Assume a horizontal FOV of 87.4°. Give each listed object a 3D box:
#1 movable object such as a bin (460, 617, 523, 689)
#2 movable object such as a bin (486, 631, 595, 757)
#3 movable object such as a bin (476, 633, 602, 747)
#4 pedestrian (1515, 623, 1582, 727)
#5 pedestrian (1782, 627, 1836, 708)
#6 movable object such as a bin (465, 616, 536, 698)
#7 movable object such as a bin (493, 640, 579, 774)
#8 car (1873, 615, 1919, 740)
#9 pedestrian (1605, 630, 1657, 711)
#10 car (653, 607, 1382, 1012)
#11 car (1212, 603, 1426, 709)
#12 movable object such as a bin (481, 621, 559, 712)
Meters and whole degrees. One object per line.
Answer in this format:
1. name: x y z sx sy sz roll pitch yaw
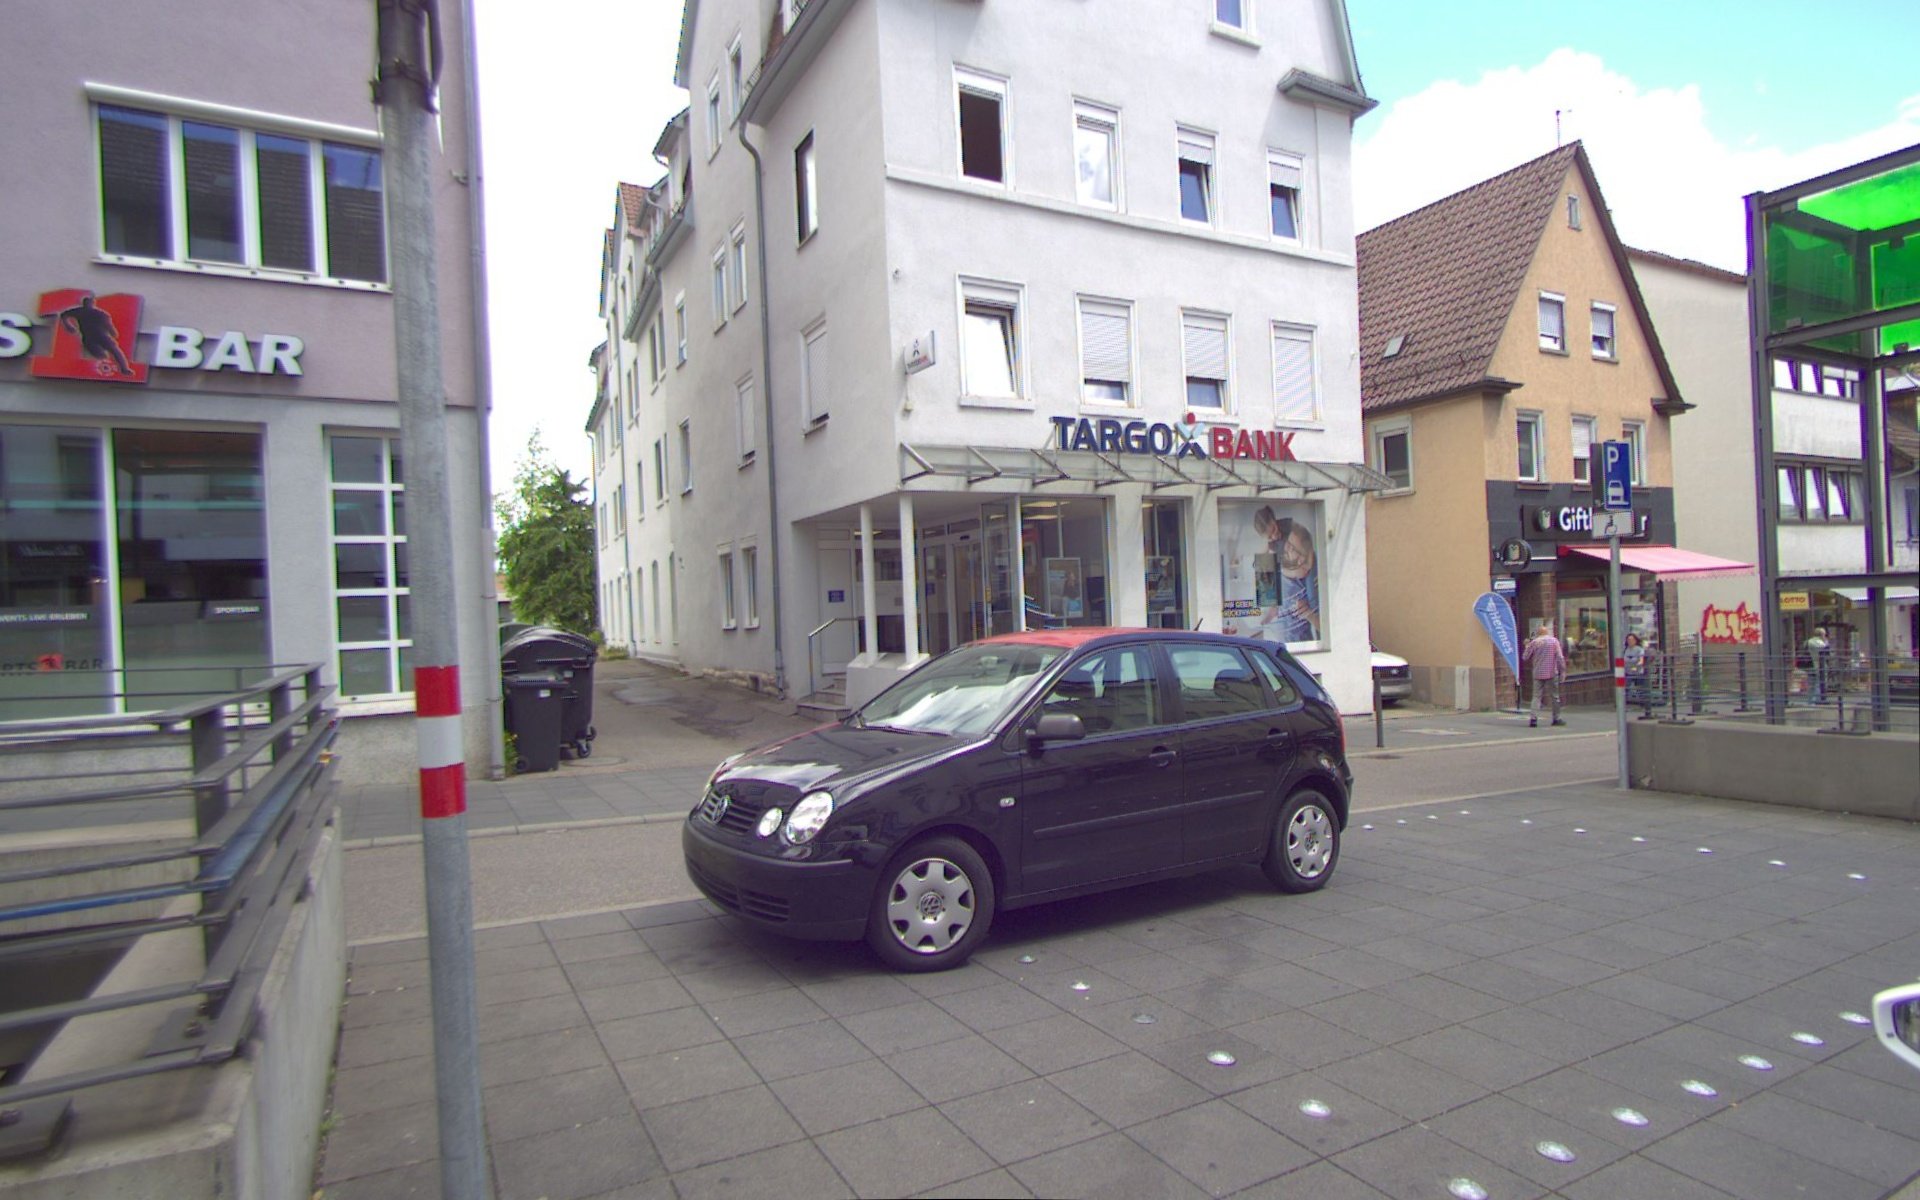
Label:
1. movable object such as a bin: -9.380 1.035 20.096 1.031 1.394 1.277 1 -1 -30
2. movable object such as a bin: -5.068 1.077 12.101 1.055 1.394 1.277 1 -1 -30
3. movable object such as a bin: -5.582 1.137 13.287 1.390 1.394 1.277 1 -1 -30
4. pedestrian: 10.019 1.260 17.114 0.816 1.711 0.637 1 -1 -26
5. pedestrian: 18.333 1.440 21.703 0.653 1.711 0.646 1 -1 10
6. movable object such as a bin: -8.224 0.994 17.962 1.031 1.394 1.277 1 -1 -30
7. movable object such as a bin: -4.709 1.153 11.148 0.798 1.394 0.686 1 -1 -30
8. car: 14.075 1.025 13.349 4.144 1.563 1.730 1 0 -31
9. pedestrian: 13.470 1.406 20.160 0.708 1.594 0.562 1 -3 -30
10. car: 0.463 0.849 5.468 3.816 1.494 1.559 1 -3 -34
11. car: 7.531 1.103 21.472 1.860 1.898 4.052 2 1 -29
12. movable object such as a bin: -7.125 1.037 16.238 1.031 1.394 1.277 1 -1 -30
